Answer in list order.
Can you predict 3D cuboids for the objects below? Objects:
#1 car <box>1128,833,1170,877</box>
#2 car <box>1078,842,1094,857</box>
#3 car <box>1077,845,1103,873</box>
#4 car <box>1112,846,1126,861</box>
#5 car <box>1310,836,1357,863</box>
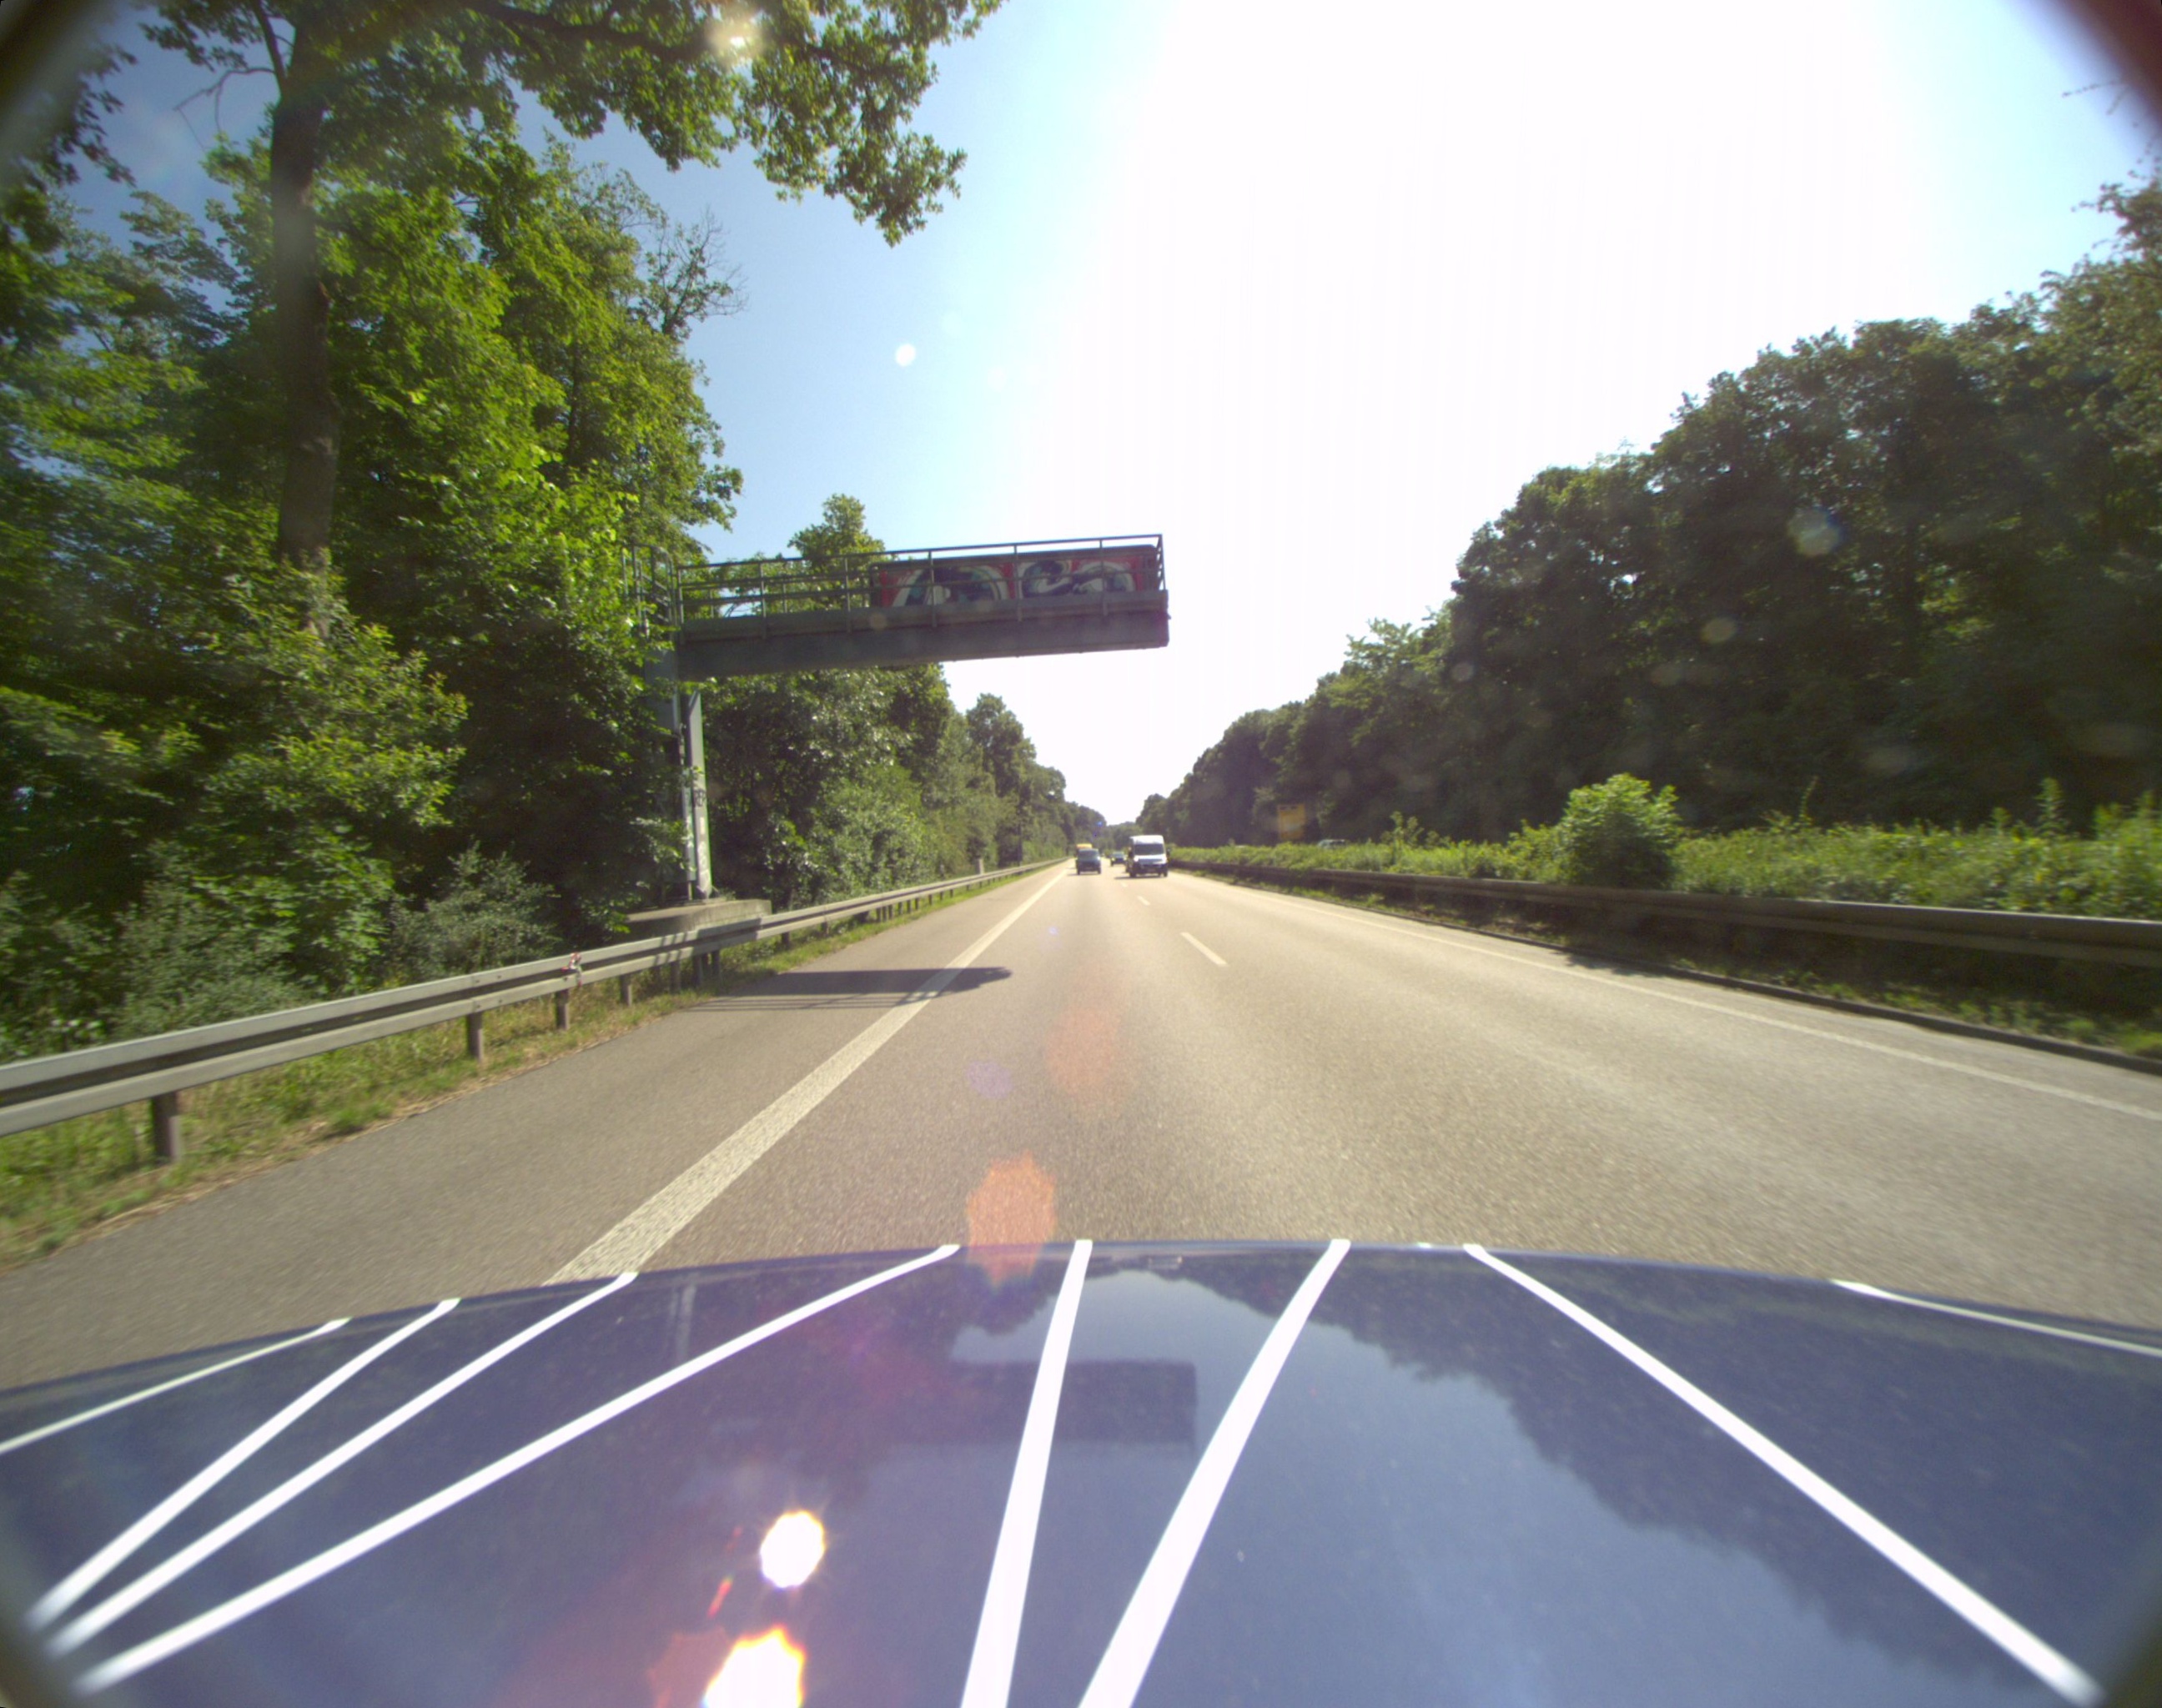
[{"bbox_3d":[4.026,0.037,45.623,2.046,2.430,4.637,-2,1,0],"label":"car"},{"bbox_3d":[0.601,-0.542,85.696,1.737,1.624,3.899,-2,1,1],"label":"car"},{"bbox_3d":[0.665,0.344,57.578,1.812,1.921,4.581,-2,1,0],"label":"car"},{"bbox_3d":[4.377,-0.041,88.058,1.517,1.624,3.611,-2,1,1],"label":"car"},{"bbox_3d":[16.237,-0.273,49.088,1.697,1.652,4.000,-1,0,0],"label":"car"}]
